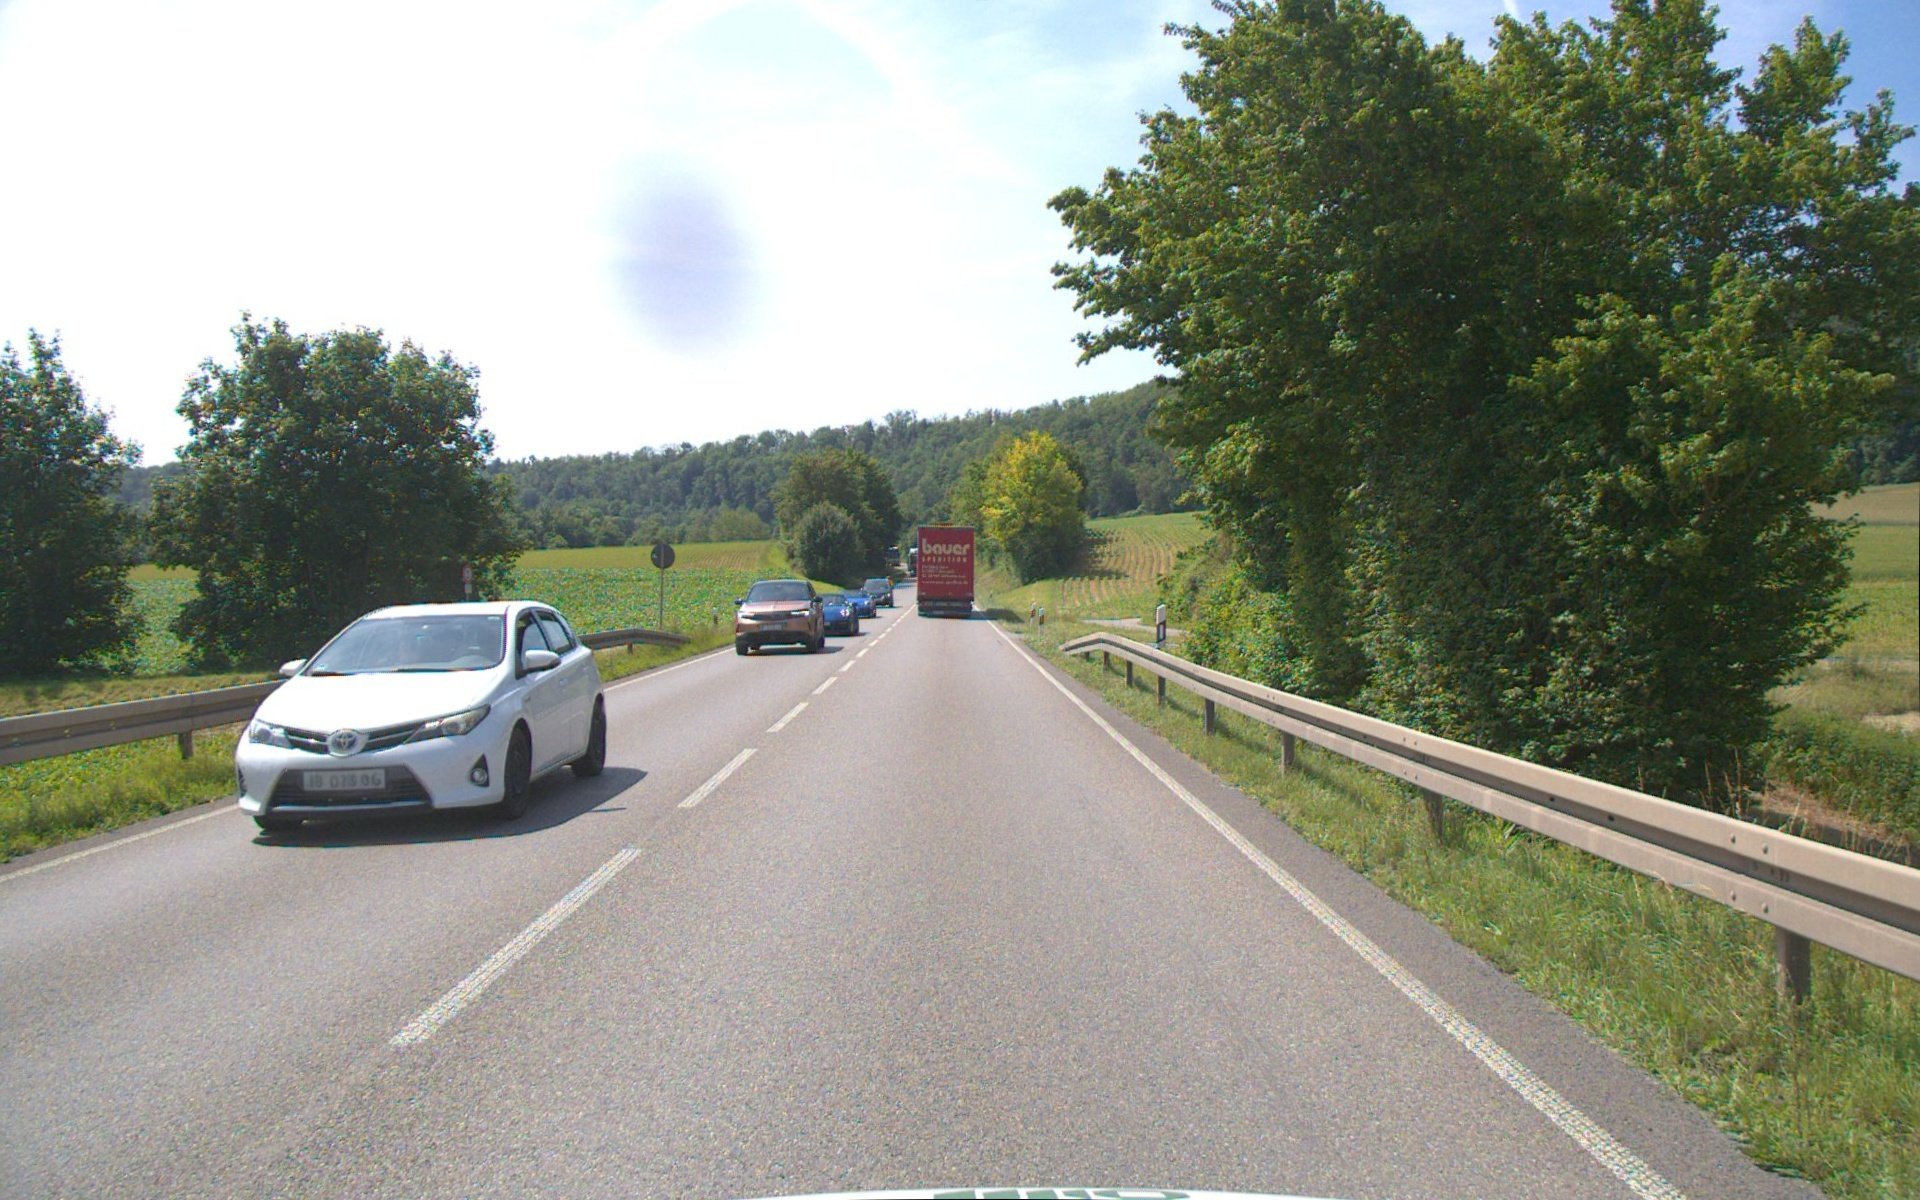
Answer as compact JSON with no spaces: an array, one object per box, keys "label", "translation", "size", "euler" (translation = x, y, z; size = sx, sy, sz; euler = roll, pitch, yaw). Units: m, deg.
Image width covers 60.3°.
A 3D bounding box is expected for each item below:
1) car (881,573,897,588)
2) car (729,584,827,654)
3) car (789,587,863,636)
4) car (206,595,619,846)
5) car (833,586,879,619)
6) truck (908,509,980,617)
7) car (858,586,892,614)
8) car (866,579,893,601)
[{"label":"car","translation":[-9.060,-2.422,210.736],"size":[1.953,1.825,3.998],"euler":[-1,0,-2]},{"label":"car","translation":[-4.205,0.398,38.723],"size":[1.874,1.500,3.873],"euler":[-1,1,-1]},{"label":"car","translation":[-4.047,0.313,50.453],"size":[1.953,1.365,4.000],"euler":[-1,1,-1]},{"label":"car","translation":[-3.765,0.732,12.117],"size":[1.696,1.459,3.915],"euler":[-3,0,-1]},{"label":"car","translation":[-4.548,0.098,72.938],"size":[1.795,1.365,4.000],"euler":[-1,1,-1]},{"label":"truck","translation":[-0.692,-1.687,78.657],"size":[3.107,4.706,13.543],"euler":[0,1,0]},{"label":"car","translation":[-4.870,-0.019,94.812],"size":[1.771,1.512,3.999],"euler":[-1,1,-1]},{"label":"car","translation":[-5.707,-0.759,118.079],"size":[1.771,1.512,3.999],"euler":[-1,1,-1]}]
